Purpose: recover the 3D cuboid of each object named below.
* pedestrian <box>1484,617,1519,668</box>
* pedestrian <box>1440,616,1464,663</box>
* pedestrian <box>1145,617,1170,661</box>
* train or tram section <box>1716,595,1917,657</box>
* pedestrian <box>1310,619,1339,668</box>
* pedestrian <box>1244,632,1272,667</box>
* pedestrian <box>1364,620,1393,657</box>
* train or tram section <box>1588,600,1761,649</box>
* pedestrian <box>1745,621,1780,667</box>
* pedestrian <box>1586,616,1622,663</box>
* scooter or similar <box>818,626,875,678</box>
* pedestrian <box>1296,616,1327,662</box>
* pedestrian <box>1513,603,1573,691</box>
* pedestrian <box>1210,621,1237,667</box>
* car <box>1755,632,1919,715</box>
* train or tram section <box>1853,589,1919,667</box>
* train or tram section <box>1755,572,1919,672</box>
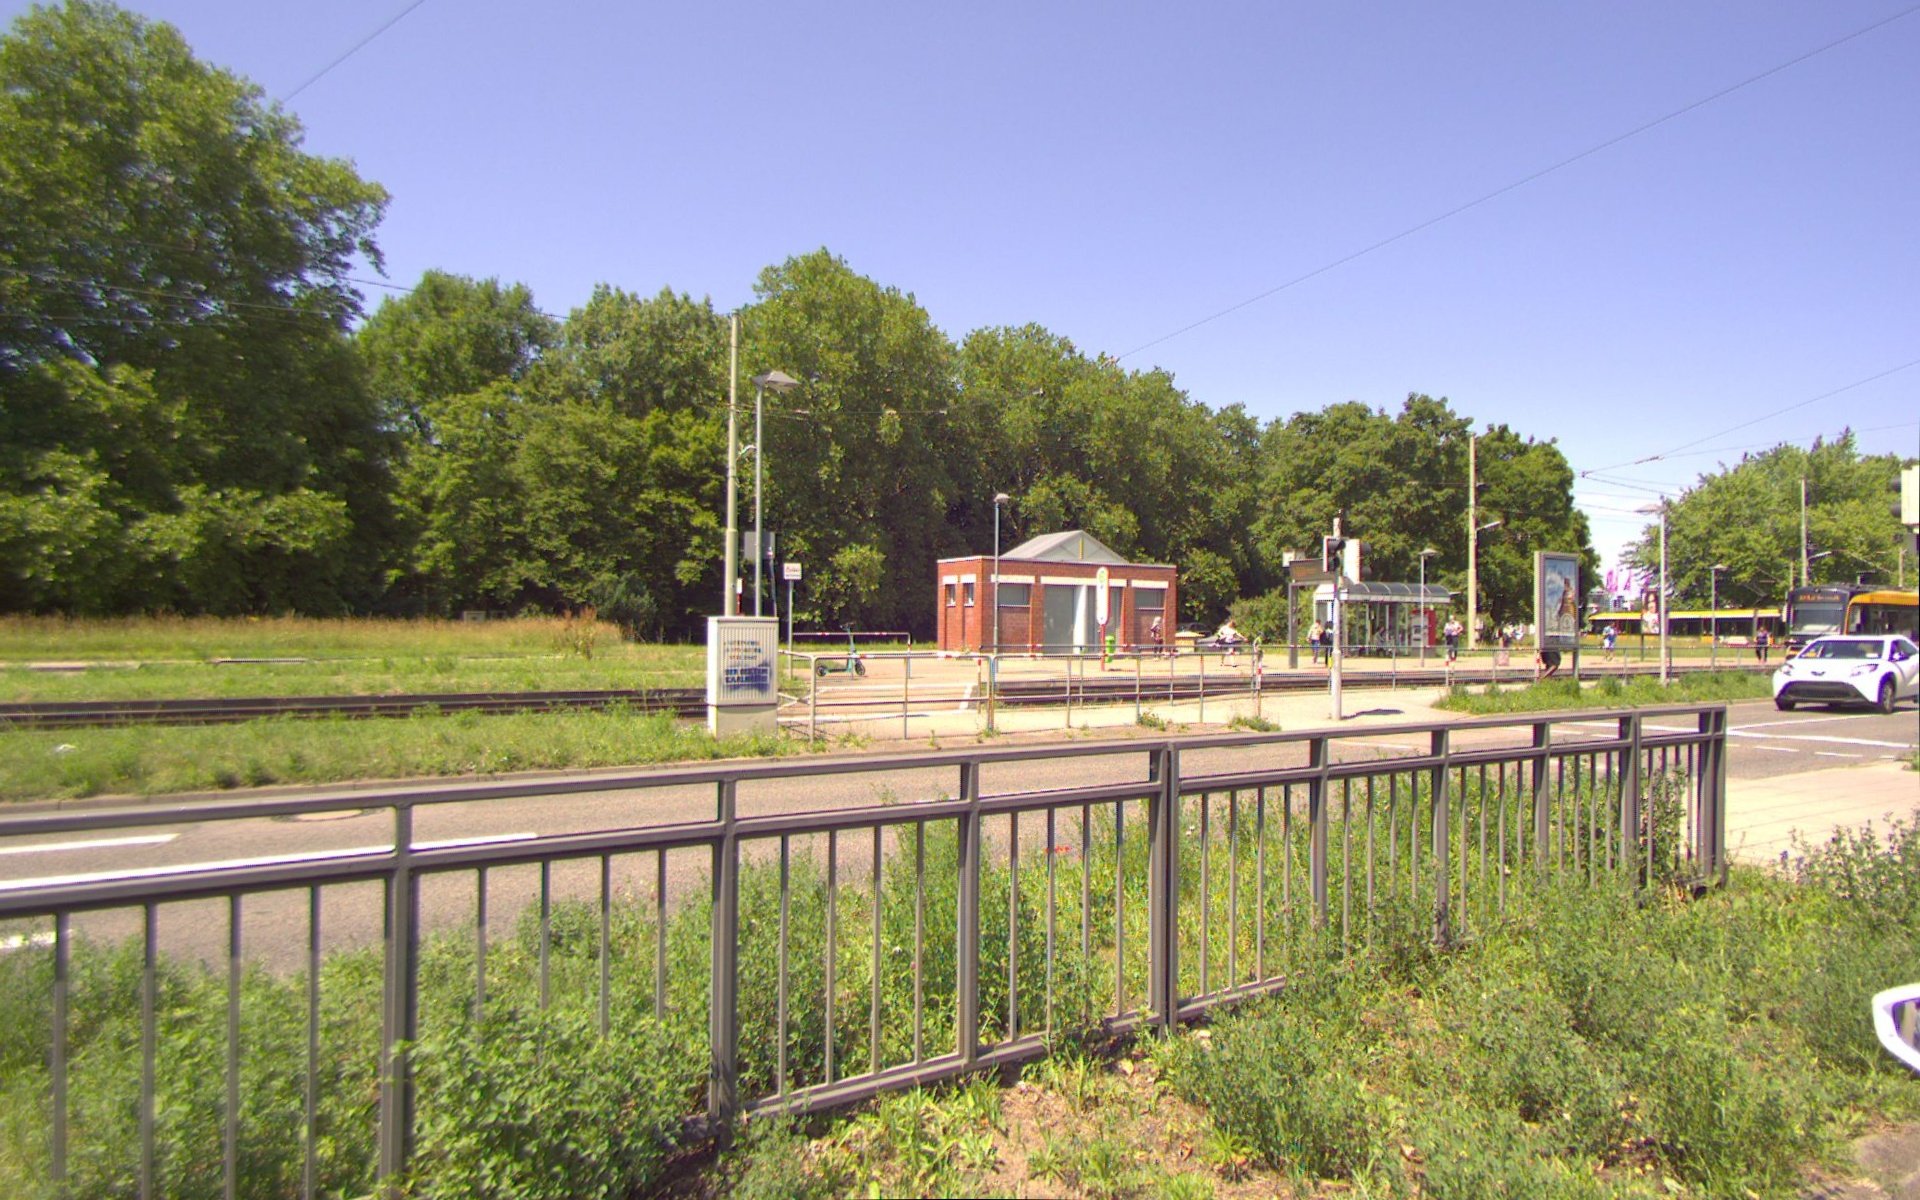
[{"bbox_3d":[20.031,1.554,37.156,0.832,1.802,0.714,-1,5,-30],"label":"pedestrian"},{"bbox_3d":[19.464,1.557,39.753,0.707,1.824,0.845,0,-1,17],"label":"pedestrian"},{"bbox_3d":[6.834,1.339,34.830,0.563,1.499,0.636,1,-1,-30],"label":"pedestrian"},{"bbox_3d":[62.688,1.885,74.618,3.160,3.984,18.512,0,-1,13],"label":"train or tram section"},{"bbox_3d":[11.773,1.392,32.407,0.688,1.575,0.629,1,-1,-42],"label":"pedestrian"},{"bbox_3d":[9.688,1.602,32.658,0.563,1.139,0.636,1,-1,-30],"label":"pedestrian"},{"bbox_3d":[17.243,1.578,41.376,0.710,1.531,0.841,1,-1,-19],"label":"pedestrian"},{"bbox_3d":[64.973,2.205,92.468,3.162,3.984,18.505,1,-1,1],"label":"train or tram section"},{"bbox_3d":[36.264,1.990,45.389,1.009,2.040,0.976,1,-1,-30],"label":"pedestrian"},{"bbox_3d":[28.537,1.750,44.527,1.009,2.040,0.976,1,-1,-30],"label":"pedestrian"},{"bbox_3d":[-2.640,1.206,23.453,1.217,1.183,0.508,1,-1,-30],"label":"scooter or similar"},{"bbox_3d":[12.495,1.390,35.735,0.799,1.611,0.668,1,-1,-30],"label":"pedestrian"},{"bbox_3d":[12.622,1.003,21.759,0.832,1.802,0.714,-1,5,-30],"label":"pedestrian"},{"bbox_3d":[8.535,1.423,32.529,0.576,1.476,0.636,1,-1,-30],"label":"pedestrian"},{"bbox_3d":[18.119,1.430,20.442,3.747,1.514,1.836,1,-1,-30],"label":"car"},{"bbox_3d":[55.495,1.641,58.589,3.174,3.984,18.436,0,-1,36],"label":"train or tram section"},{"bbox_3d":[42.718,1.091,46.580,18.292,3.984,3.198,1,-1,-32],"label":"train or tram section"}]
